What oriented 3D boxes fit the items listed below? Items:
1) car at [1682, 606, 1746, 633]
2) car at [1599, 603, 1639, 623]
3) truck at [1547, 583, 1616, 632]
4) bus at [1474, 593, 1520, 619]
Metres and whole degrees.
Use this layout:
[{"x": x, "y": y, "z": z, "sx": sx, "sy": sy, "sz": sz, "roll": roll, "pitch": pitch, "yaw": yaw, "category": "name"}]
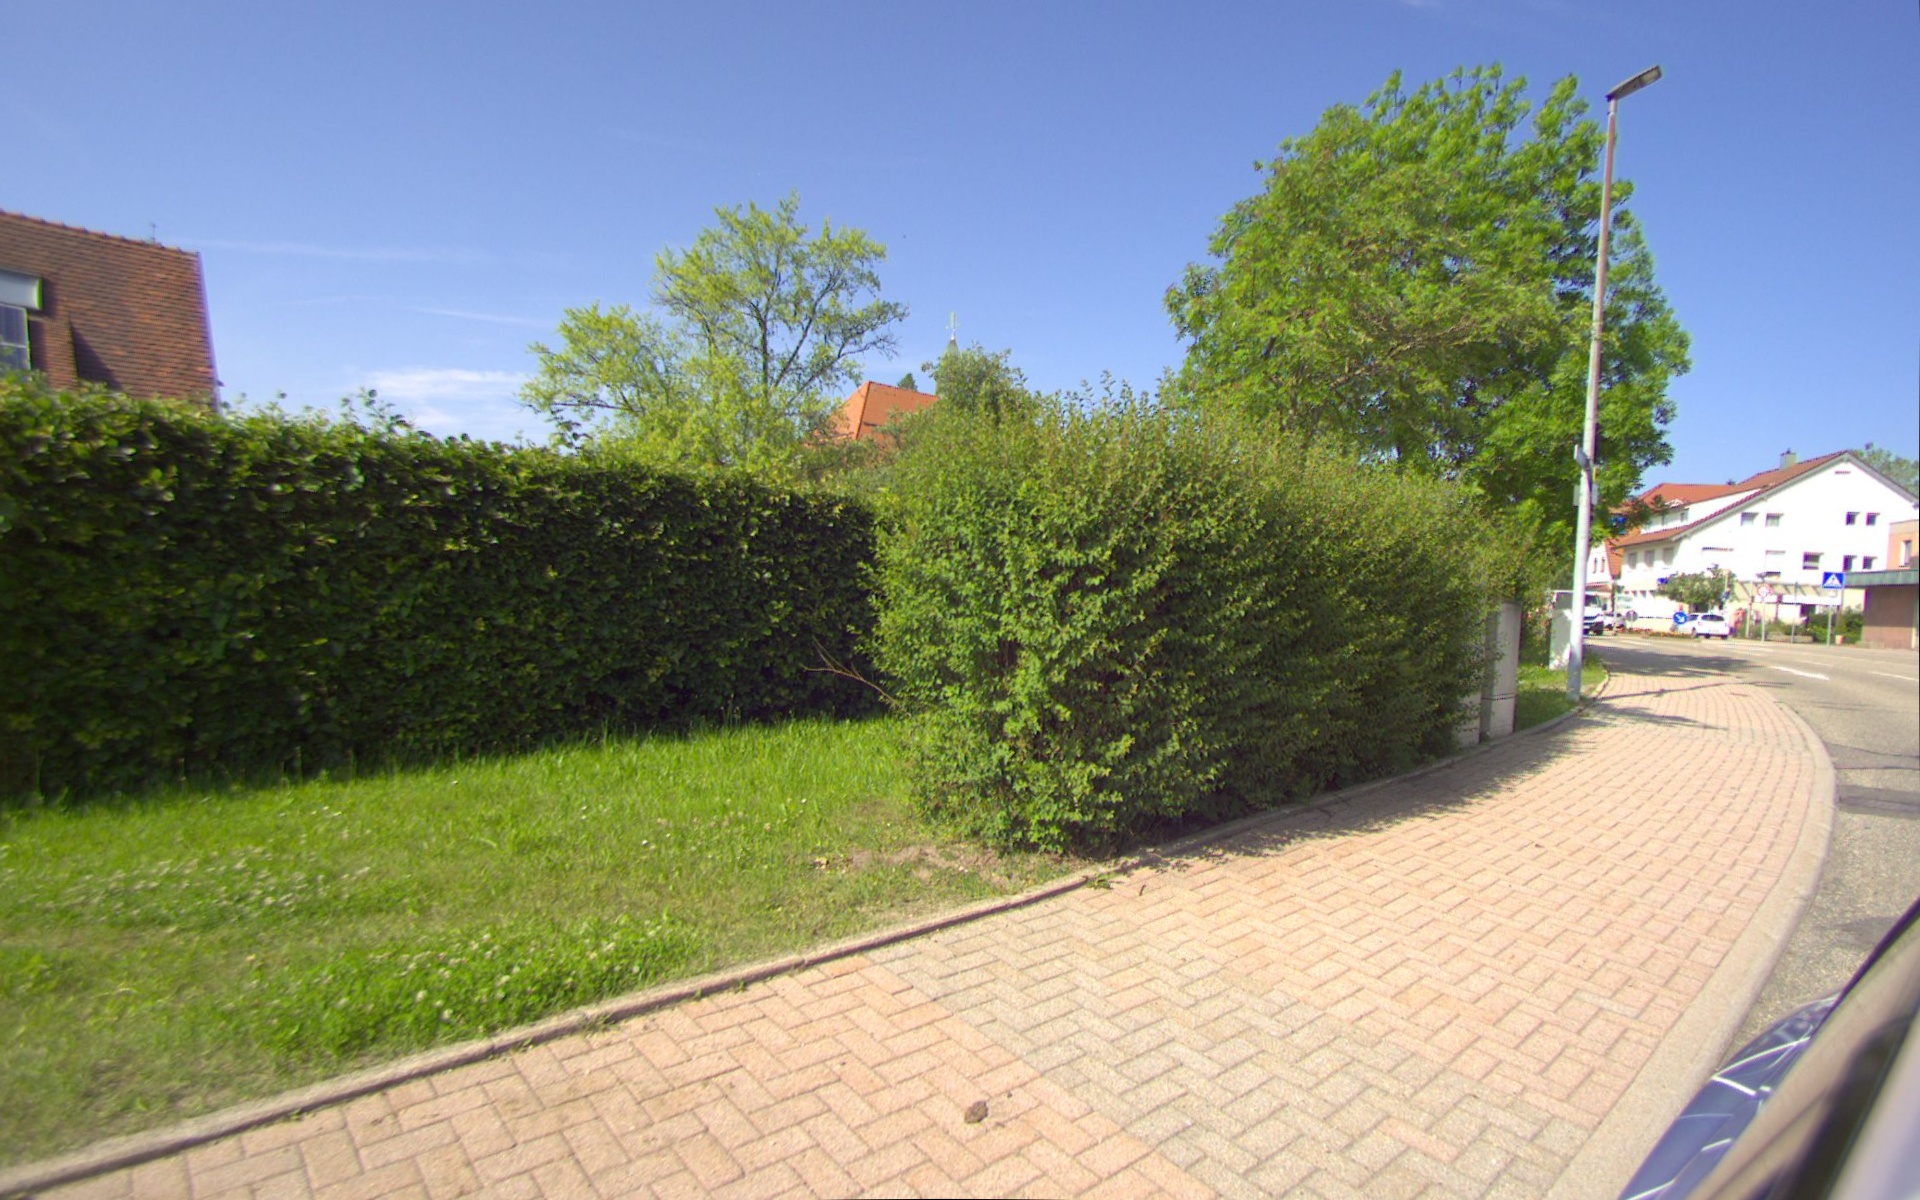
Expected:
[{"x": 43.675, "y": 1.122, "z": 58.700, "sx": 1.751, "sy": 1.487, "sz": 3.695, "roll": -1, "pitch": -1, "yaw": 16, "category": "car"}, {"x": 49.503, "y": 0.983, "z": 76.096, "sx": 1.755, "sy": 1.452, "sz": 3.687, "roll": -1, "pitch": -1, "yaw": 21, "category": "car"}, {"x": 32.326, "y": 0.353, "z": 52.801, "sx": 1.977, "sy": 2.371, "sz": 6.445, "roll": 1, "pitch": 0, "yaw": 22, "category": "truck"}, {"x": 66.796, "y": 0.799, "z": 126.265, "sx": 2.683, "sy": 3.052, "sz": 15.124, "roll": 2, "pitch": 0, "yaw": 19, "category": "bus"}]
